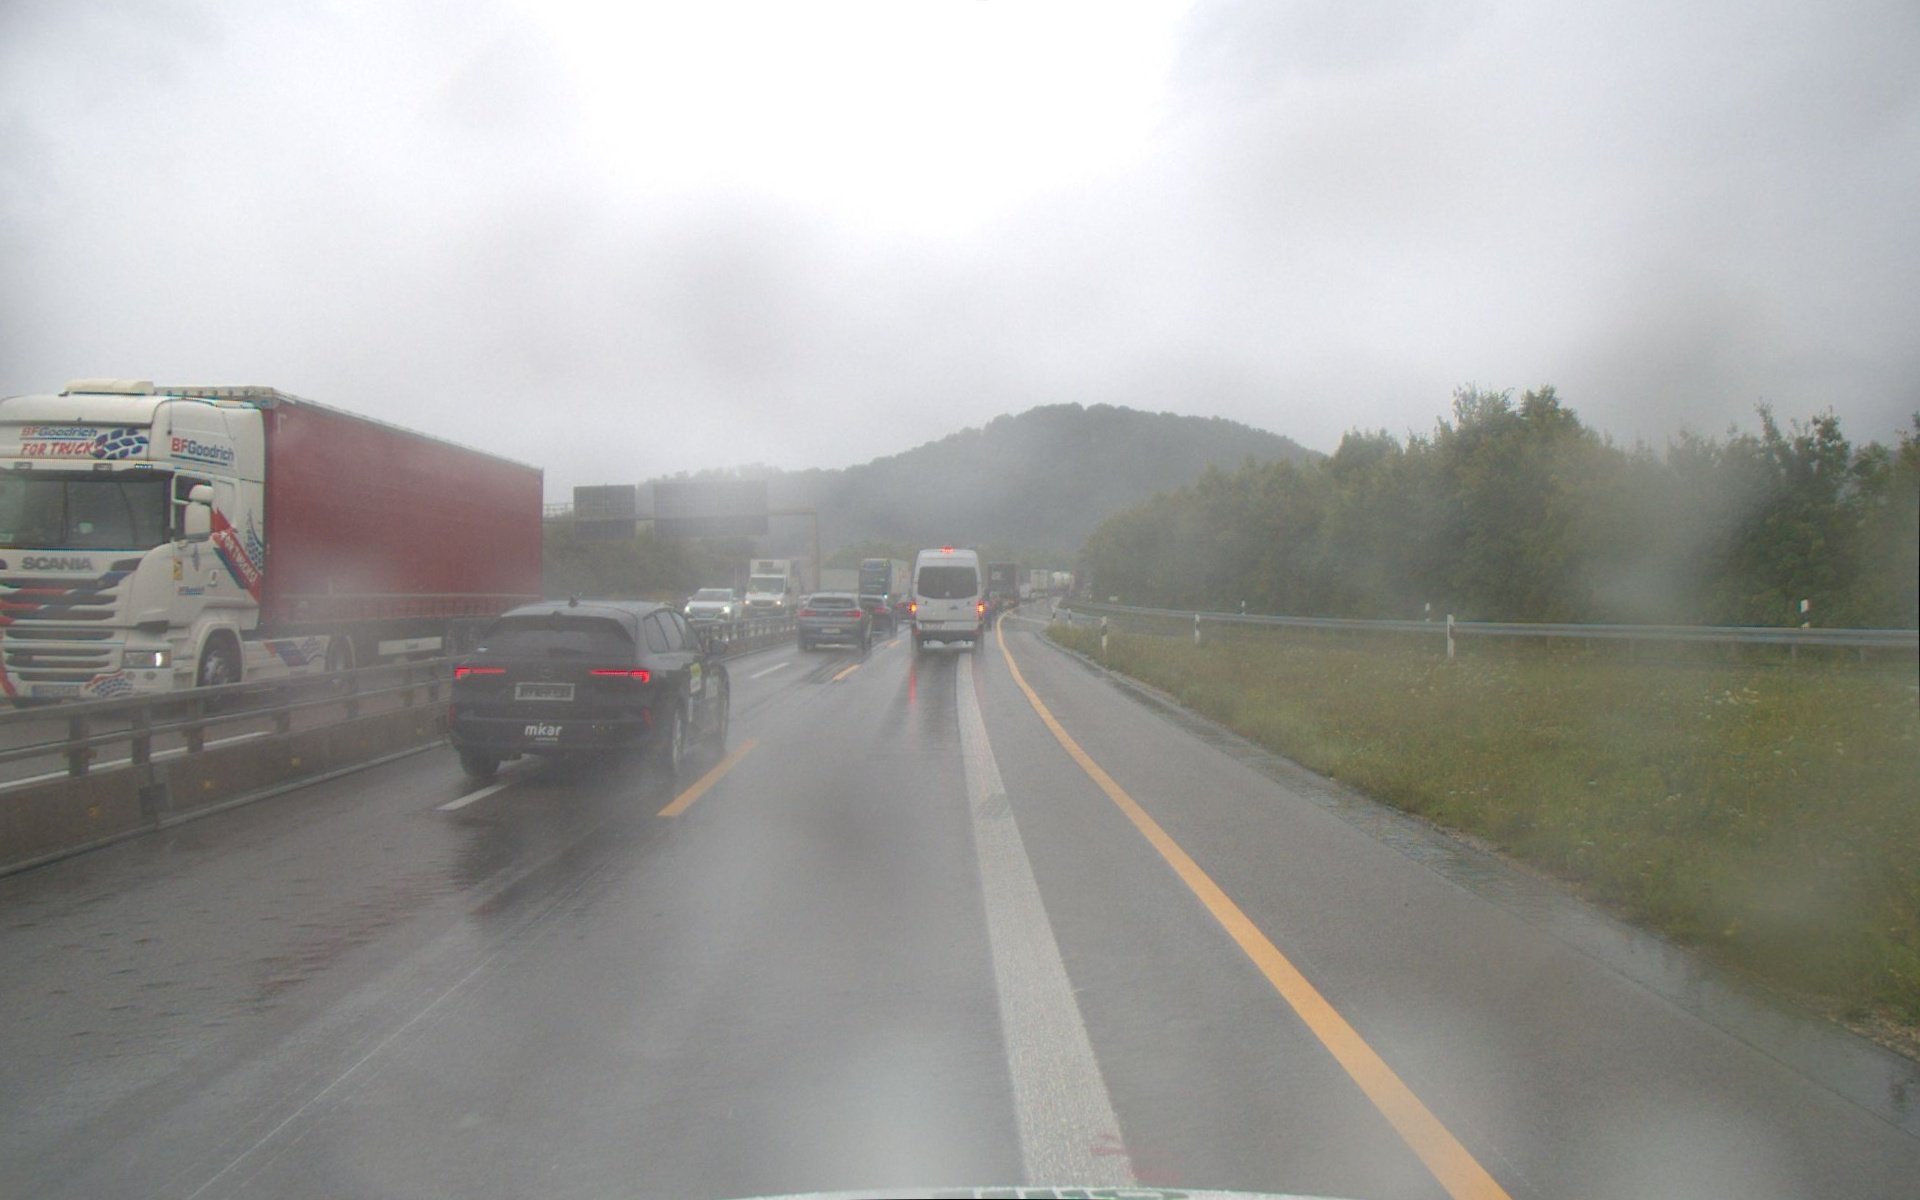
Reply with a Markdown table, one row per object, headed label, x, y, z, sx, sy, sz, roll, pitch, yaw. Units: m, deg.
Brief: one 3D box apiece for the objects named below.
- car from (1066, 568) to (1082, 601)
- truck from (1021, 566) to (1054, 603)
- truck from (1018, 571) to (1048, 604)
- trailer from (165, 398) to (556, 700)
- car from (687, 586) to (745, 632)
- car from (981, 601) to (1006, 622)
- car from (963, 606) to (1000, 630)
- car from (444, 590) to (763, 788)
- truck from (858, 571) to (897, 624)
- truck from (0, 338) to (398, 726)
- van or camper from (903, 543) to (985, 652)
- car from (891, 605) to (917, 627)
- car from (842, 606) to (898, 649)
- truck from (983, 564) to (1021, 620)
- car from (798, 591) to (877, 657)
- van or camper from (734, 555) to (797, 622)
| label | x | y | z | sx | sy | sz | roll | pitch | yaw |
| --- | --- | --- | --- | --- | --- | --- | --- | --- | --- |
| car | 15.257 | -2.022 | 222.004 | 2.015 | 4.265 | 6.748 | 0 | 0 | 3 |
| truck | 10.644 | -2.048 | 225.517 | 3.845 | 4.868 | 9.912 | 1 | 0 | 5 |
| truck | 8.893 | -1.481 | 202.875 | 3.252 | 3.827 | 9.907 | 2 | 0 | 1 |
| trailer | -10.107 | -0.730 | 29.702 | 2.915 | 4.370 | 11.060 | -1 | 0 | 0 |
| car | -9.538 | 0.339 | 64.980 | 1.602 | 1.697 | 4.543 | 2 | 0 | 0 |
| car | 2.117 | 0.716 | 104.493 | 1.357 | 1.278 | 3.120 | 0 | 0 | -3 |
| car | 0.966 | 0.812 | 75.871 | 1.357 | 1.097 | 3.119 | 0 | 0 | -5 |
| car | -2.954 | 0.675 | 14.788 | 1.899 | 1.452 | 4.758 | 1 | 0 | -1 |
| truck | -6.802 | -0.195 | 136.971 | 2.829 | 4.306 | 6.327 | 0 | -1 | 1 |
| truck | -10.153 | -0.755 | 22.009 | 2.946 | 4.347 | 6.800 | -1 | 0 | 1 |
| van or camper | -0.420 | -0.060 | 44.837 | 2.096 | 2.769 | 4.647 | 0 | 0 | 0 |
| car | -2.817 | 0.798 | 83.428 | 1.237 | 1.097 | 3.254 | 0 | 0 | -1 |
| car | -3.297 | 0.994 | 60.944 | 1.814 | 1.527 | 4.000 | 0 | 0 | 0 |
| truck | 3.784 | -0.699 | 151.153 | 3.252 | 4.868 | 9.907 | 1 | 0 | 1 |
| car | -3.232 | 0.622 | 44.267 | 1.829 | 1.688 | 3.987 | 0 | 0 | 0 |
| van or camper | -9.506 | -0.499 | 81.239 | 2.247 | 3.094 | 6.698 | 1 | 0 | 0 |
